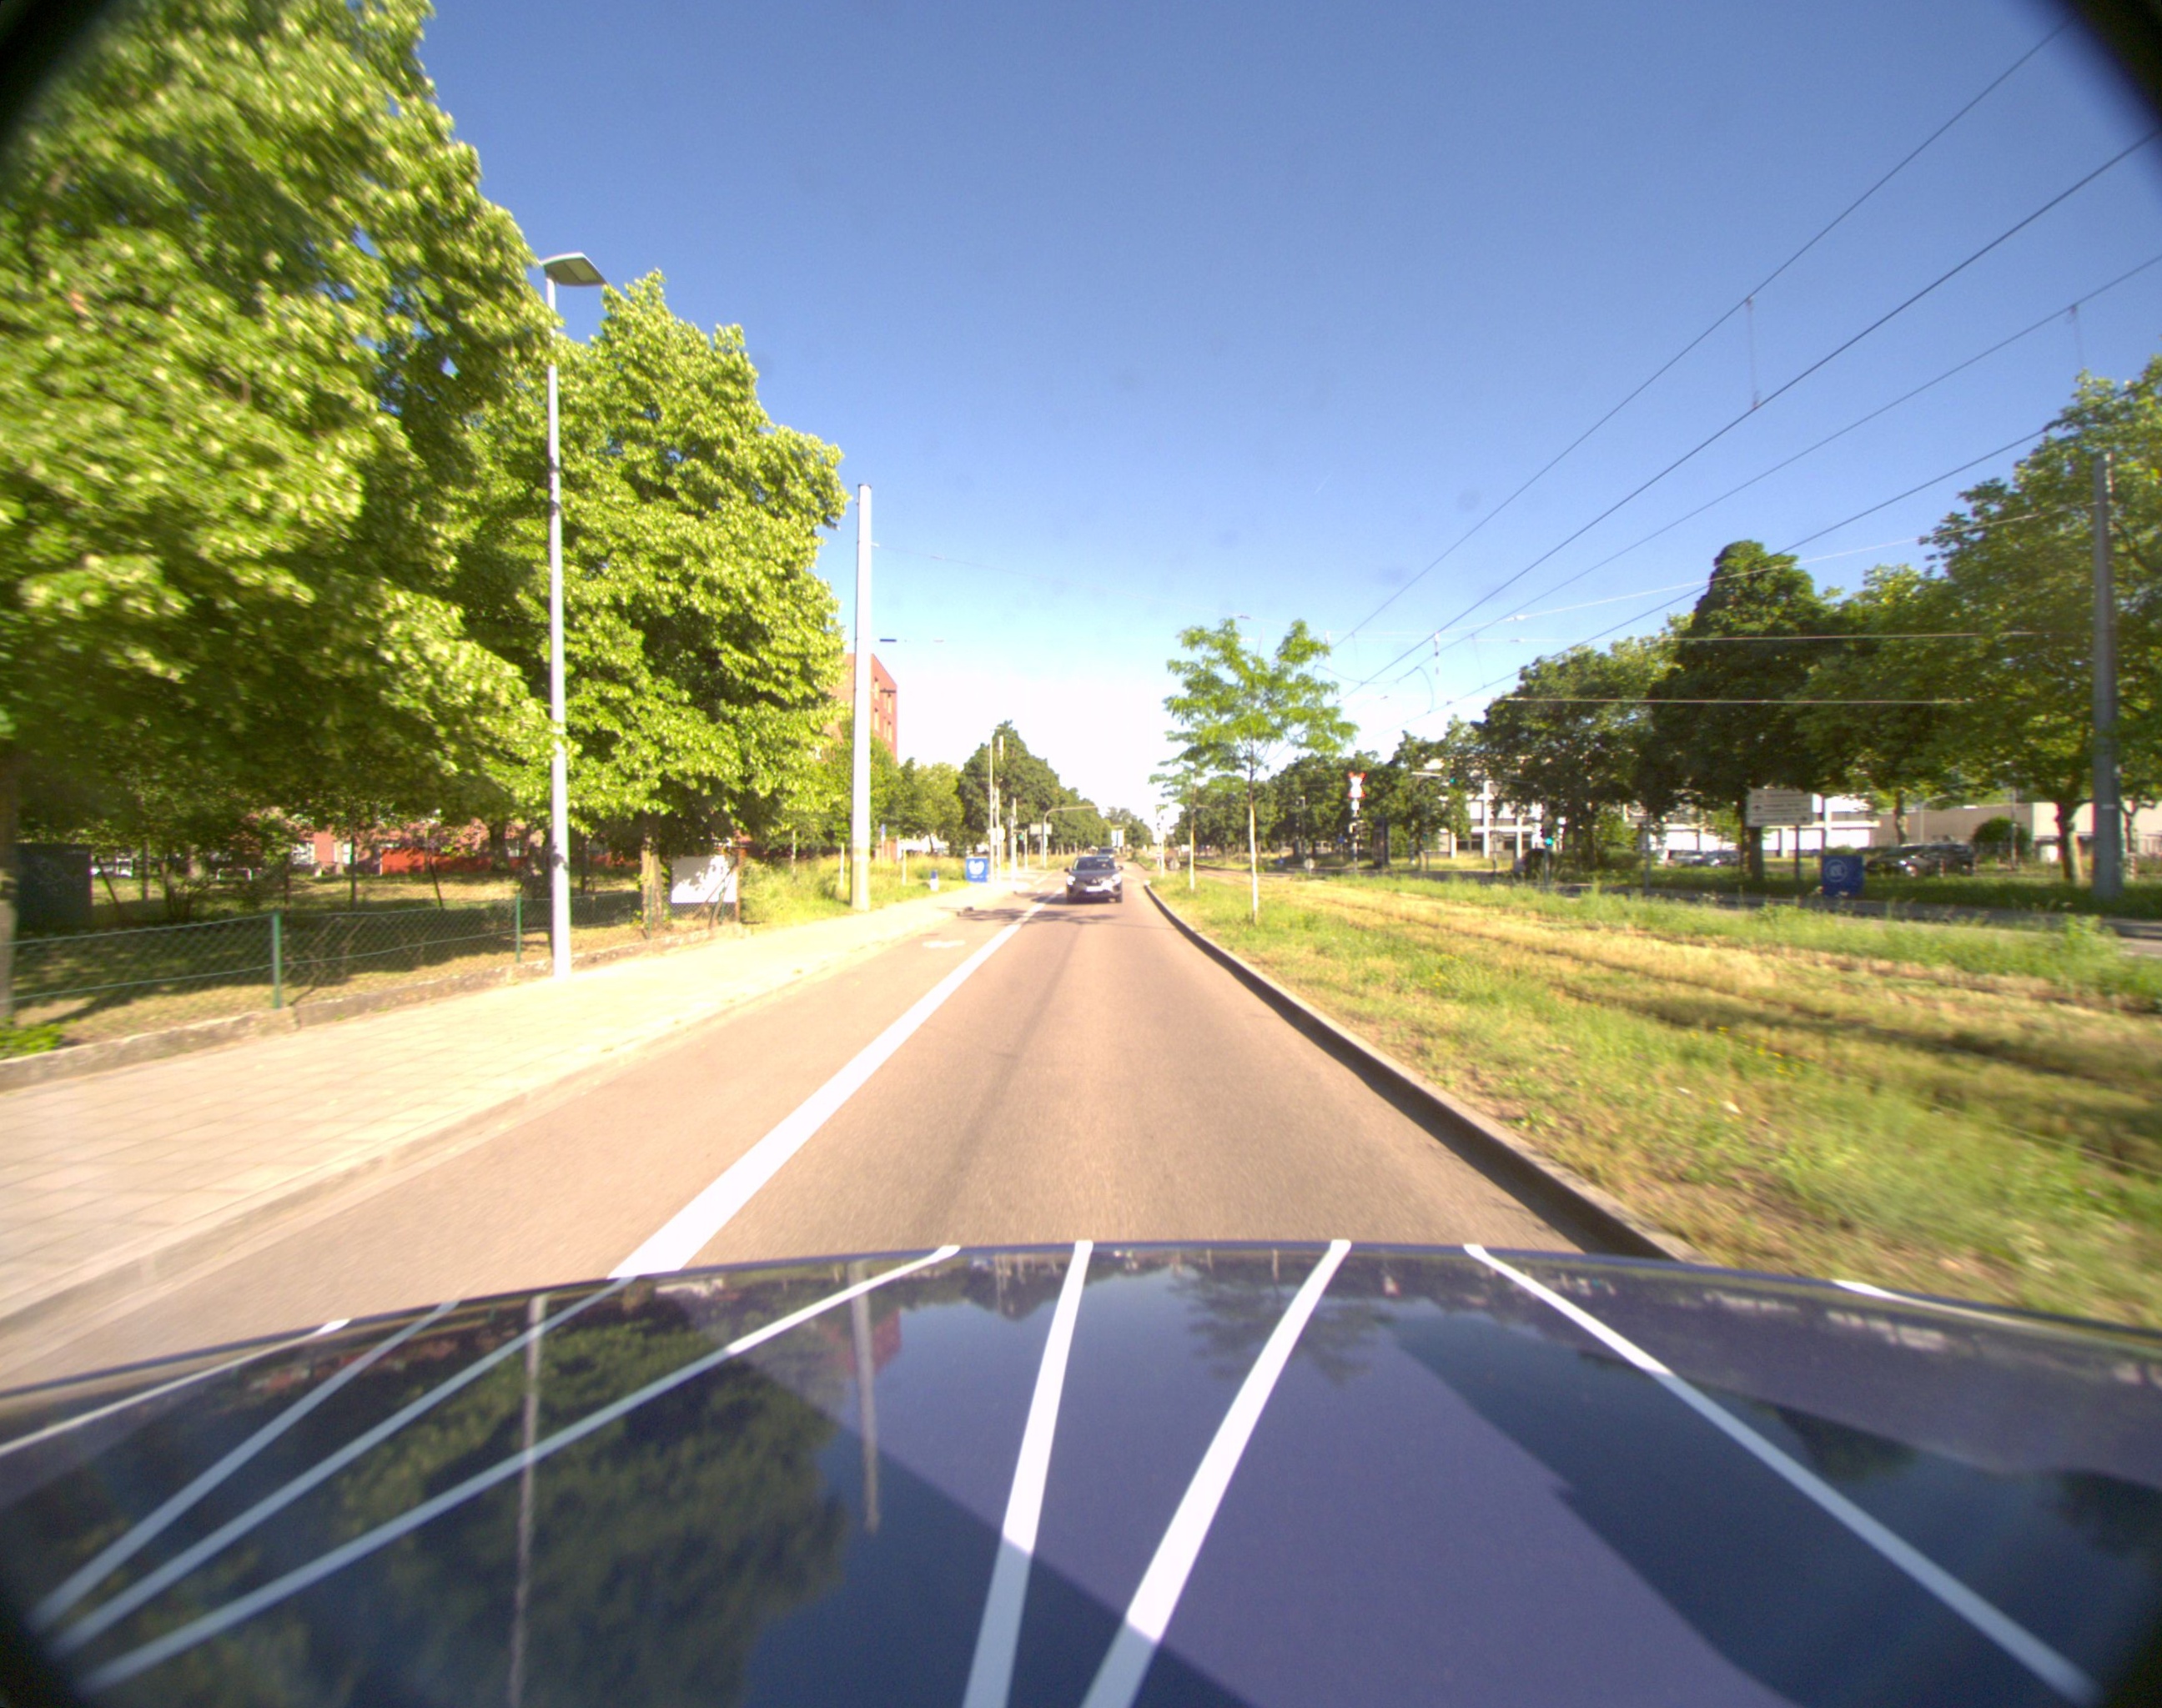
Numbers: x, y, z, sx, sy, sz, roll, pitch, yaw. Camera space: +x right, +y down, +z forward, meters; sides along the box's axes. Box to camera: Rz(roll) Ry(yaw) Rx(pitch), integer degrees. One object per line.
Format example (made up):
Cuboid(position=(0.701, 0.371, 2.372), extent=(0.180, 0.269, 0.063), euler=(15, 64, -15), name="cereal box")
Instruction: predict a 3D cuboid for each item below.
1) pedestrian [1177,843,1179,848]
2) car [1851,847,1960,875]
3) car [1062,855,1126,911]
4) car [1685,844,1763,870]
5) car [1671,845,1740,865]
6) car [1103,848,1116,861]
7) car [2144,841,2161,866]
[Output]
Cuboid(position=(29.936, -2.599, 234.357), extent=(0.785, 1.741, 0.782), euler=(-1, 1, 6), name="pedestrian")
Cuboid(position=(41.289, 0.329, 38.101), extent=(4.001, 1.373, 1.871), euler=(0, 0, -11), name="car")
Cuboid(position=(0.525, 0.882, 25.067), extent=(1.749, 1.585, 4.248), euler=(0, 1, 6), name="car")
Cuboid(position=(42.752, 0.193, 50.548), extent=(4.000, 1.658, 1.829), euler=(-1, 1, -9), name="car")
Cuboid(position=(51.837, 0.080, 63.114), extent=(4.431, 1.630, 1.988), euler=(0, 1, -9), name="car")
Cuboid(position=(3.866, 0.015, 102.697), extent=(1.554, 1.765, 3.458), euler=(1, 1, 6), name="car")
Cuboid(position=(74.386, -0.036, 50.951), extent=(3.999, 1.658, 1.830), euler=(-1, 1, -5), name="car")
